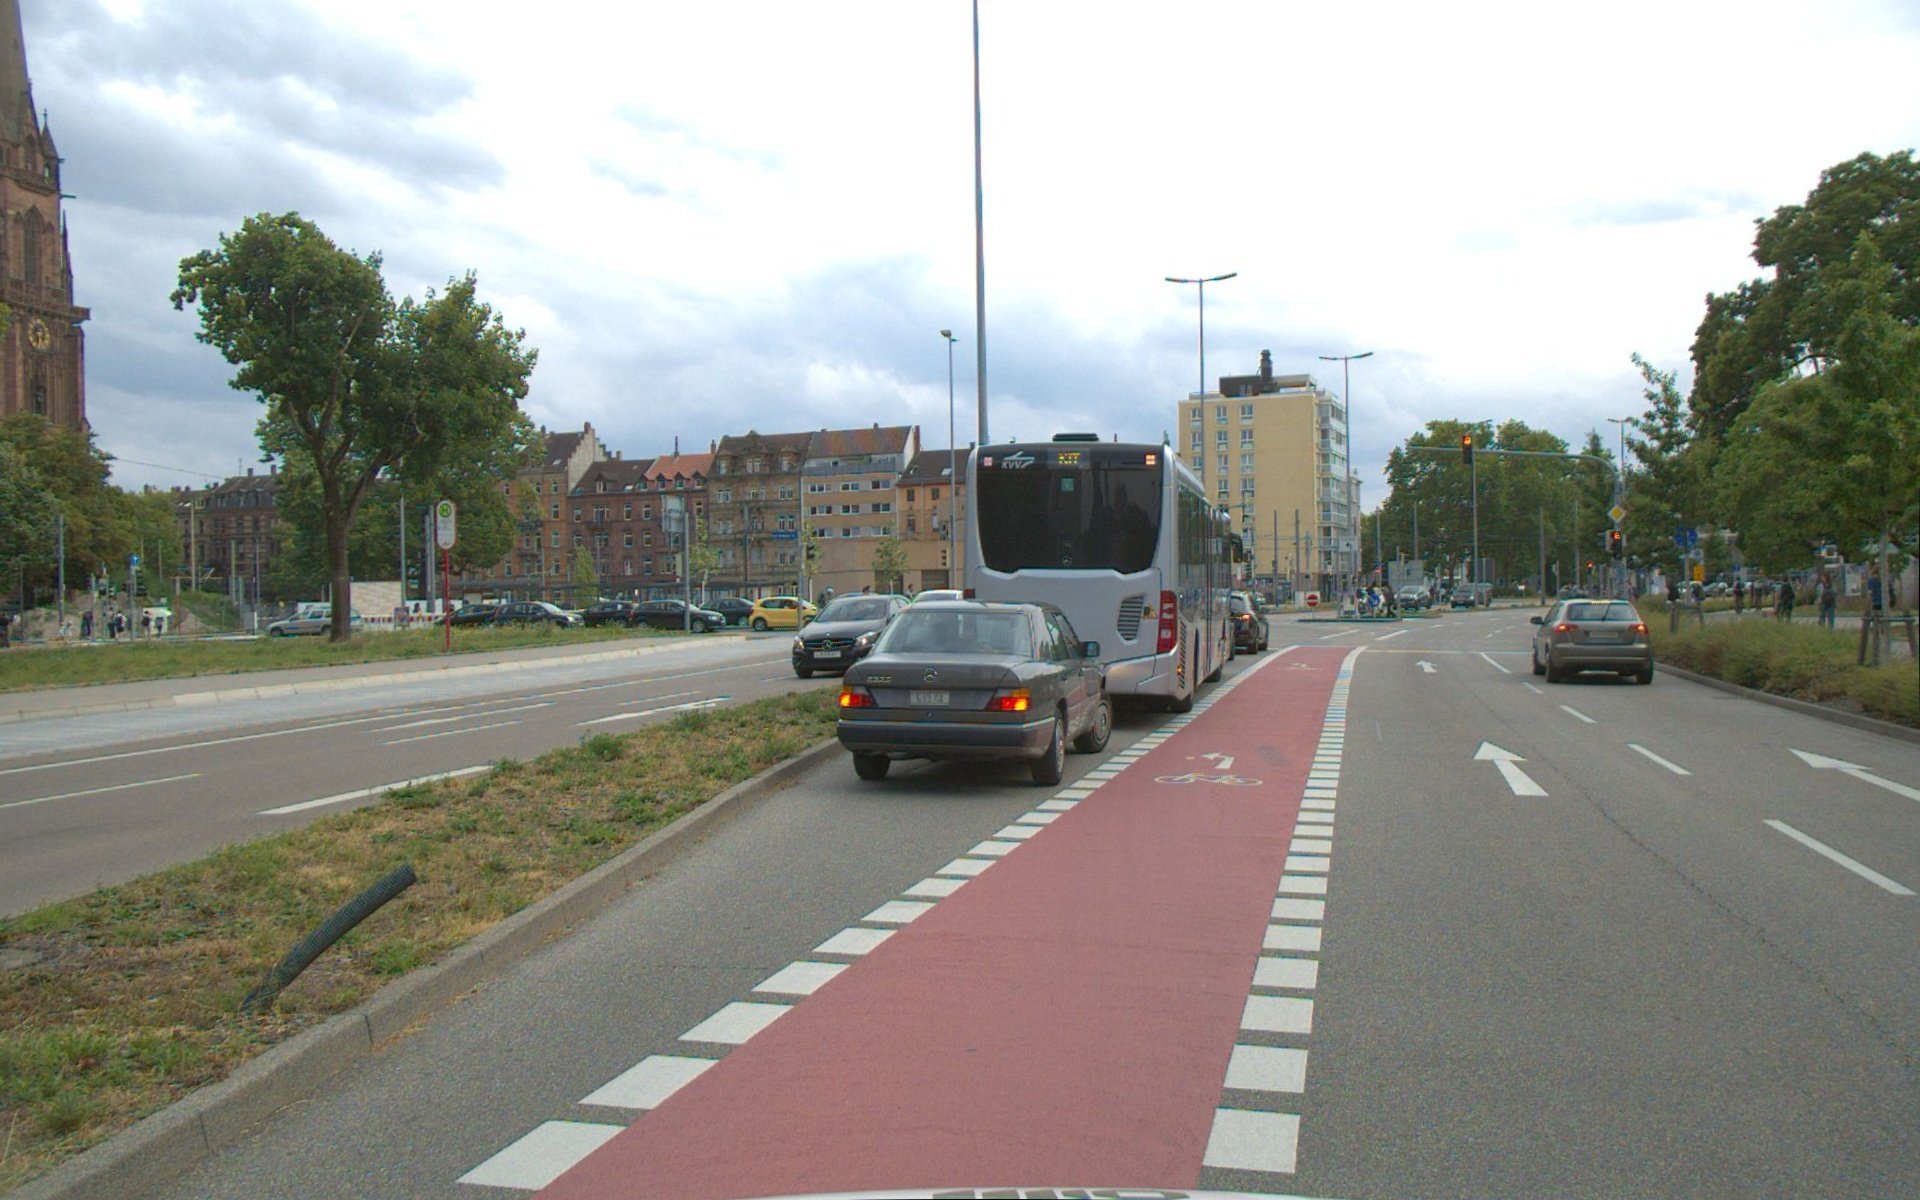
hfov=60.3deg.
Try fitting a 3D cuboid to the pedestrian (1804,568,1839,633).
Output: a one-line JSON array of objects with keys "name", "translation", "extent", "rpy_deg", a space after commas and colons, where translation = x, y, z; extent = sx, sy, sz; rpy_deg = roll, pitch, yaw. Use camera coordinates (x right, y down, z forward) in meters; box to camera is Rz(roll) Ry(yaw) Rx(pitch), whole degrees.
[{"name": "pedestrian", "translation": [23.746, 0.010, 45.590], "extent": [0.786, 1.743, 0.764], "rpy_deg": [-1, 0, 26]}]

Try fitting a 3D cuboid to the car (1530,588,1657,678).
[{"name": "car", "translation": [11.344, 0.558, 29.815], "extent": [1.687, 1.483, 3.739], "rpy_deg": [-1, 0, 15]}]

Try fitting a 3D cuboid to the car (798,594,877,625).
[{"name": "car", "translation": [-5.632, 0.434, 76.140], "extent": [3.600, 1.419, 1.583], "rpy_deg": [0, 0, -5]}]

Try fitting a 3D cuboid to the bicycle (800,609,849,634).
[{"name": "bicycle", "translation": [-5.652, 0.896, 68.913], "extent": [1.922, 0.999, 0.631], "rpy_deg": [-1, 0, 8]}]

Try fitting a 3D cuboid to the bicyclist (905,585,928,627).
[{"name": "bicyclist", "translation": [-1.779, 0.244, 67.413], "extent": [0.769, 1.672, 0.614], "rpy_deg": [-1, 0, 11]}]

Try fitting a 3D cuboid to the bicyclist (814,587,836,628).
[{"name": "bicyclist", "translation": [-5.608, 0.316, 68.912], "extent": [0.769, 1.672, 0.573], "rpy_deg": [-1, 0, 8]}]

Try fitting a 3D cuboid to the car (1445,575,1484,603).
[{"name": "car", "translation": [39.093, -0.857, 128.128], "extent": [1.956, 2.049, 3.992], "rpy_deg": [-1, 0, 30]}]

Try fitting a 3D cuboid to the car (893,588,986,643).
[{"name": "car", "translation": [-0.543, 0.425, 47.932], "extent": [1.660, 1.468, 4.179], "rpy_deg": [-2, 0, 14]}]

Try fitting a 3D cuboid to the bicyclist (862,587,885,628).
[{"name": "bicyclist", "translation": [-3.572, 0.295, 68.108], "extent": [0.769, 1.672, 0.573], "rpy_deg": [-1, 0, 13]}]

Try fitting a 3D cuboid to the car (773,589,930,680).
[{"name": "car", "translation": [-1.983, 0.607, 31.608], "extent": [1.717, 1.515, 4.381], "rpy_deg": [-2, 1, 14]}]

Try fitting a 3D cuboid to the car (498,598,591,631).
[{"name": "car", "translation": [-18.397, 0.627, 73.276], "extent": [3.683, 1.419, 1.586], "rpy_deg": [0, 0, 8]}]

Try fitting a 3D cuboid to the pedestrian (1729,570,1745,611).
[{"name": "pedestrian", "translation": [38.847, -0.476, 82.708], "extent": [0.601, 2.049, 0.598], "rpy_deg": [-1, 0, 12]}]

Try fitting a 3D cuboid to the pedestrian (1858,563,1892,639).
[{"name": "pedestrian", "translation": [21.066, 0.023, 38.097], "extent": [0.634, 1.743, 0.561], "rpy_deg": [-1, 0, 28]}]

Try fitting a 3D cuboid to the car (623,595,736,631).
[{"name": "car", "translation": [-12.209, 0.560, 72.167], "extent": [4.569, 1.501, 1.662], "rpy_deg": [0, 0, 8]}]

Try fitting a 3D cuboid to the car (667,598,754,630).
[{"name": "car", "translation": [-11.542, 0.629, 76.587], "extent": [3.683, 1.419, 1.586], "rpy_deg": [0, 0, 8]}]

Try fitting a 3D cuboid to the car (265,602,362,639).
[{"name": "car", "translation": [-31.597, 1.014, 80.851], "extent": [4.065, 1.678, 1.648], "rpy_deg": [-1, 0, 7]}]

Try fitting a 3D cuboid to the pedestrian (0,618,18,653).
[{"name": "pedestrian", "translation": [-45.248, 1.689, 78.482], "extent": [0.549, 1.587, 0.726], "rpy_deg": [-1, 1, 7]}]

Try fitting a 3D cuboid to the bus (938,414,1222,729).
[{"name": "bus", "translation": [1.951, -0.341, 22.437], "extent": [2.771, 3.449, 8.190], "rpy_deg": [-1, 0, 11]}]

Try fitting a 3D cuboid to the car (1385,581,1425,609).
[{"name": "car", "translation": [31.444, -0.394, 116.867], "extent": [1.772, 1.883, 3.994], "rpy_deg": [-1, 0, 29]}]

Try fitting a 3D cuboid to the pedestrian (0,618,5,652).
[{"name": "pedestrian", "translation": [-46.158, 1.685, 78.982], "extent": [0.549, 1.587, 0.726], "rpy_deg": [-1, 1, 7]}]

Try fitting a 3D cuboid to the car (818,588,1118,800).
[{"name": "car", "translation": [0.239, 0.681, 14.203], "extent": [1.723, 1.515, 4.175], "rpy_deg": [-1, 0, 12]}]

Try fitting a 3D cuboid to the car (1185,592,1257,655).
[{"name": "car", "translation": [6.470, 0.551, 40.761], "extent": [1.619, 1.421, 3.864], "rpy_deg": [-1, 0, 11]}]

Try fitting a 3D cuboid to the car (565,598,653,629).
[{"name": "car", "translation": [-16.381, 0.615, 77.184], "extent": [3.683, 1.419, 1.586], "rpy_deg": [0, 0, 8]}]

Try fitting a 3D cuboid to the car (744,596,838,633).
[{"name": "car", "translation": [-7.297, 0.606, 71.565], "extent": [3.774, 1.544, 1.662], "rpy_deg": [0, 0, 8]}]
